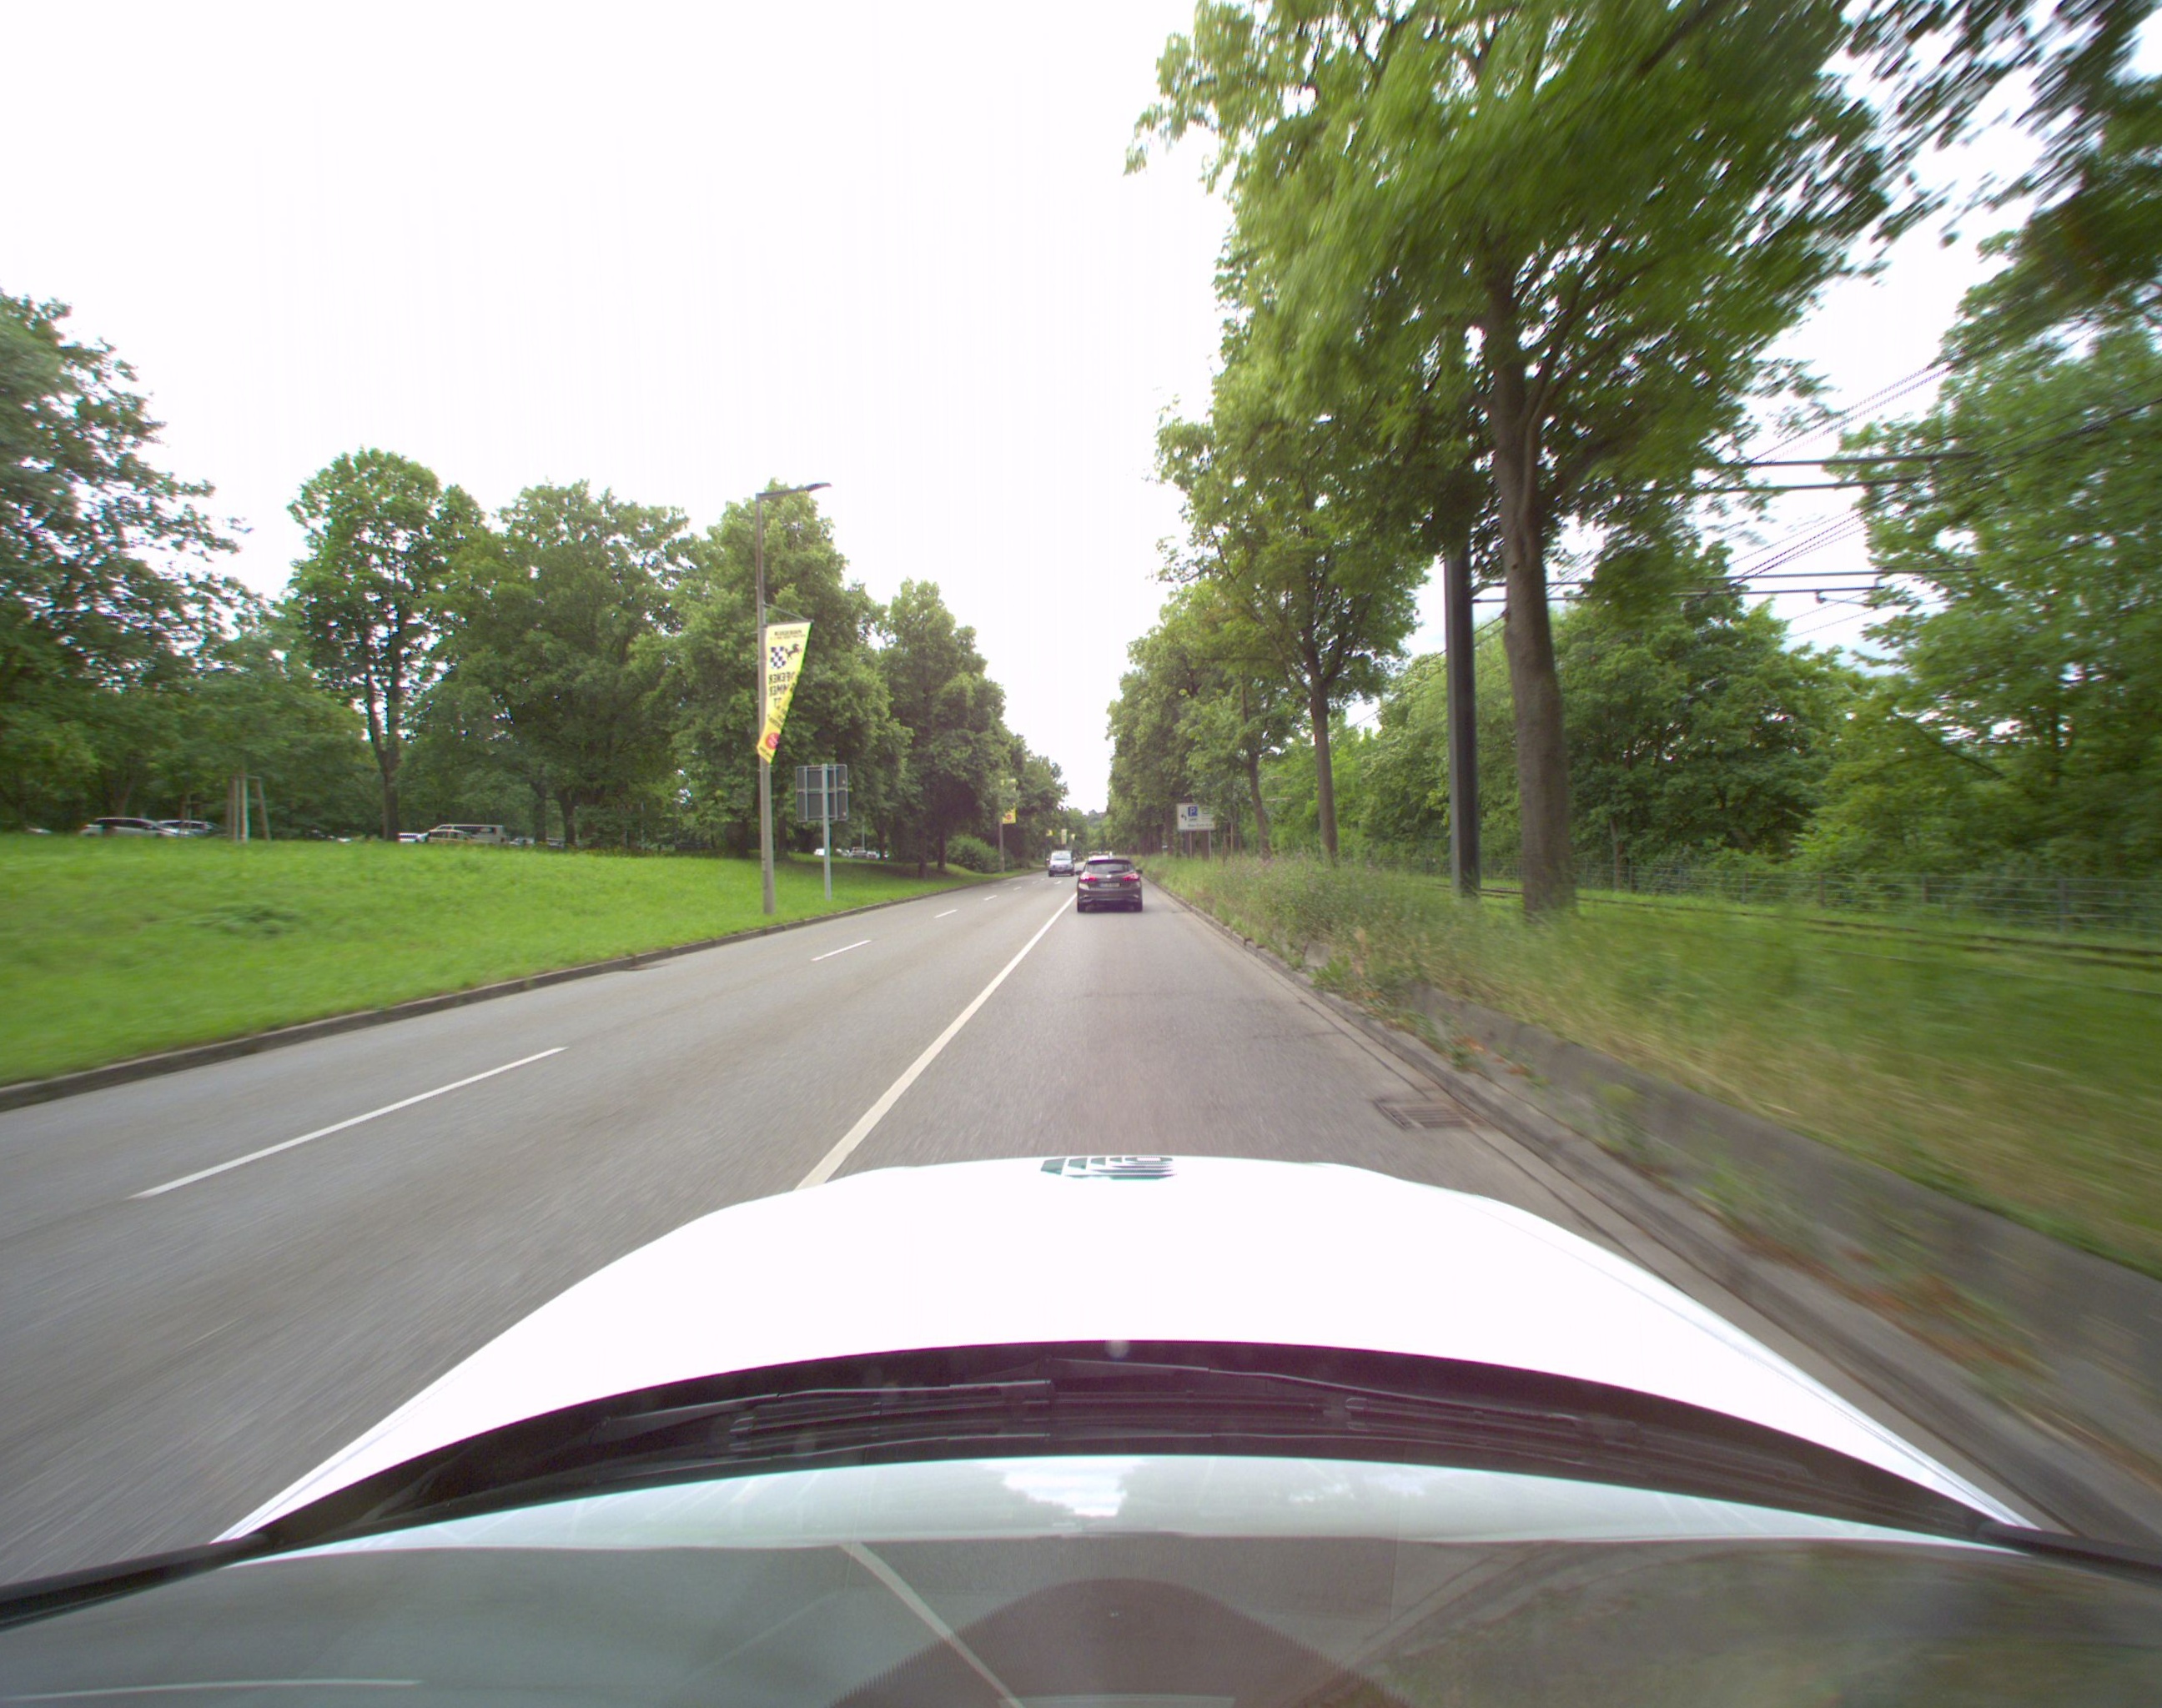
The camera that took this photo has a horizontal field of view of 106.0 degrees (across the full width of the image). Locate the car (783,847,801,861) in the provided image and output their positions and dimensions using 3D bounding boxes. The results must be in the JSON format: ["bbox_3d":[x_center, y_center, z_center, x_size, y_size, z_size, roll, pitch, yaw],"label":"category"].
[{"bbox_3d":[-31.265,0.000,88.082,1.652,1.486,3.971,0,0,-22],"label":"car"}]

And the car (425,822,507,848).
[{"bbox_3d":[-42.140,-1.262,55.916,4.118,1.683,1.741,0,0,-22],"label":"car"}]

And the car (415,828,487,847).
[{"bbox_3d":[-41.250,-1.043,53.403,3.516,1.210,1.388,0,0,-26],"label":"car"}]

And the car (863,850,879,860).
[{"bbox_3d":[-30.437,0.142,117.967,1.652,1.486,3.971,0,0,-22],"label":"car"}]

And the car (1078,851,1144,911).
[{"bbox_3d":[0.829,0.706,22.932,1.724,1.537,3.553,0,0,1],"label":"car"}]

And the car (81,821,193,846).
[{"bbox_3d":[-49.153,-1.061,42.479,3.516,1.233,1.388,0,0,-26],"label":"car"}]

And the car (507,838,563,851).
[{"bbox_3d":[-50.350,-0.882,75.150,3.989,1.210,1.888,0,0,-23],"label":"car"}]

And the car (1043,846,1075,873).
[{"bbox_3d":[-1.623,0.413,62.332,1.985,1.955,5.187,-2,-1,3],"label":"car"}]

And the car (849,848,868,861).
[{"bbox_3d":[-25.011,0.069,91.432,1.652,1.486,3.971,0,0,-22],"label":"car"}]

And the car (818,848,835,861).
[{"bbox_3d":[-31.493,0.063,100.653,1.652,1.486,3.971,0,0,-22],"label":"car"}]

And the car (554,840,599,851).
[{"bbox_3d":[-56.723,-0.996,91.665,3.989,1.210,1.888,0,0,-23],"label":"car"}]

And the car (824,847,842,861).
[{"bbox_3d":[-27.802,-0.006,91.167,1.652,1.486,3.971,0,0,-22],"label":"car"}]

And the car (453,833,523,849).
[{"bbox_3d":[-45.300,-0.975,62.304,3.989,1.210,1.888,0,0,-23],"label":"car"}]

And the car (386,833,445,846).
[{"bbox_3d":[-63.574,-1.405,77.876,3.989,1.210,1.888,0,0,-23],"label":"car"}]
